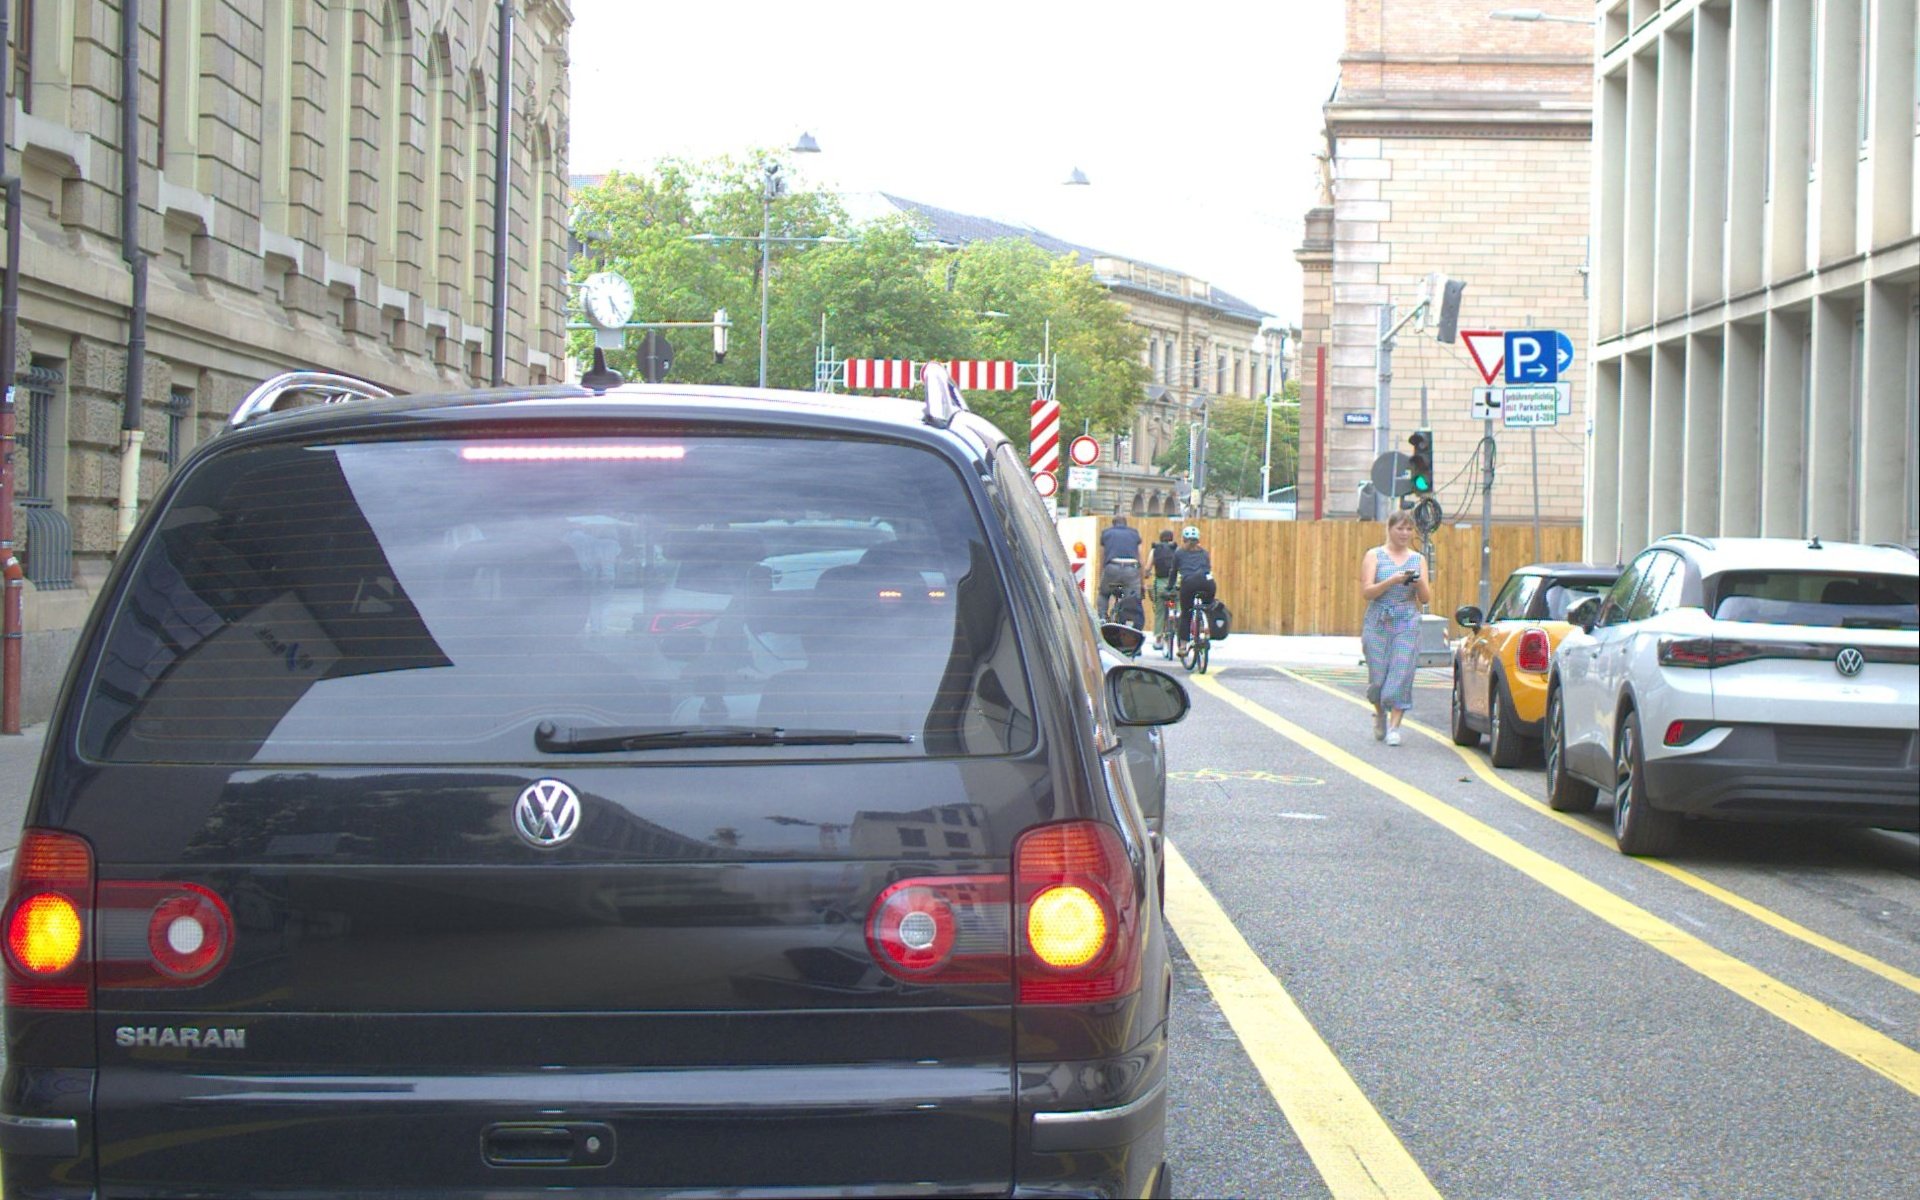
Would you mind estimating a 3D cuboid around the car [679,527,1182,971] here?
[{"bbox_3d":[-0.023,0.482,13.726,1.678,1.464,4.103,1,1,2],"label":"car"}]

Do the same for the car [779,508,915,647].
[{"bbox_3d":[-1.591,-0.319,47.269,1.734,1.784,4.104,1,1,-3],"label":"car"}]

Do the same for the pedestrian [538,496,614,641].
[{"bbox_3d":[-4.947,-0.402,44.379,0.792,1.813,1.048,3,0,-1],"label":"pedestrian"}]

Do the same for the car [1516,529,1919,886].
[{"bbox_3d":[4.261,0.502,18.521,1.860,1.599,4.512,4,1,2],"label":"car"}]

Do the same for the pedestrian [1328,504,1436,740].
[{"bbox_3d":[3.206,0.163,26.156,0.703,1.757,0.700,1,0,-1],"label":"pedestrian"}]

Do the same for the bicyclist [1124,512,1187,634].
[{"bbox_3d":[2.522,-0.355,44.476,0.735,1.550,0.895,1,0,-1],"label":"bicyclist"}]

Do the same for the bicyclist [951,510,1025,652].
[{"bbox_3d":[0.289,-0.204,36.223,0.735,1.473,0.884,1,0,-1],"label":"bicyclist"}]

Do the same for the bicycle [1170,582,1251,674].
[{"bbox_3d":[2.844,0.306,39.215,0.735,1.005,2.069,1,1,-1],"label":"bicycle"}]

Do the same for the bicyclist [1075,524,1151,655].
[{"bbox_3d":[1.625,-0.110,36.666,0.735,1.372,0.829,1,0,-1],"label":"bicyclist"}]

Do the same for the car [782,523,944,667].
[{"bbox_3d":[-1.104,-0.071,40.267,1.773,1.580,4.000,1,1,-1],"label":"car"}]

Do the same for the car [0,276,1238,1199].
[{"bbox_3d":[-0.469,0.457,6.603,1.790,1.784,4.103,1,1,2],"label":"car"}]

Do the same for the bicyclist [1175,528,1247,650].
[{"bbox_3d":[2.853,-0.131,39.195,0.735,1.371,0.832,1,0,-1],"label":"bicyclist"}]

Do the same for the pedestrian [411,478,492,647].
[{"bbox_3d":[-5.621,-0.410,38.036,0.664,1.813,1.048,3,0,-1],"label":"pedestrian"}]

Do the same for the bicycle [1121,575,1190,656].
[{"bbox_3d":[2.510,0.193,44.402,0.735,1.005,2.069,1,1,-1],"label":"bicycle"}]

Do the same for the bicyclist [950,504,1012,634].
[{"bbox_3d":[0.261,-0.390,42.935,0.735,1.606,0.695,1,0,-1],"label":"bicyclist"}]

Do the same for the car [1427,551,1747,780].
[{"bbox_3d":[4.495,0.424,25.144,1.680,1.430,3.886,4,1,2],"label":"car"}]

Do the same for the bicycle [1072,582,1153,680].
[{"bbox_3d":[1.615,0.315,36.661,0.735,1.005,2.069,1,1,-1],"label":"bicycle"}]
